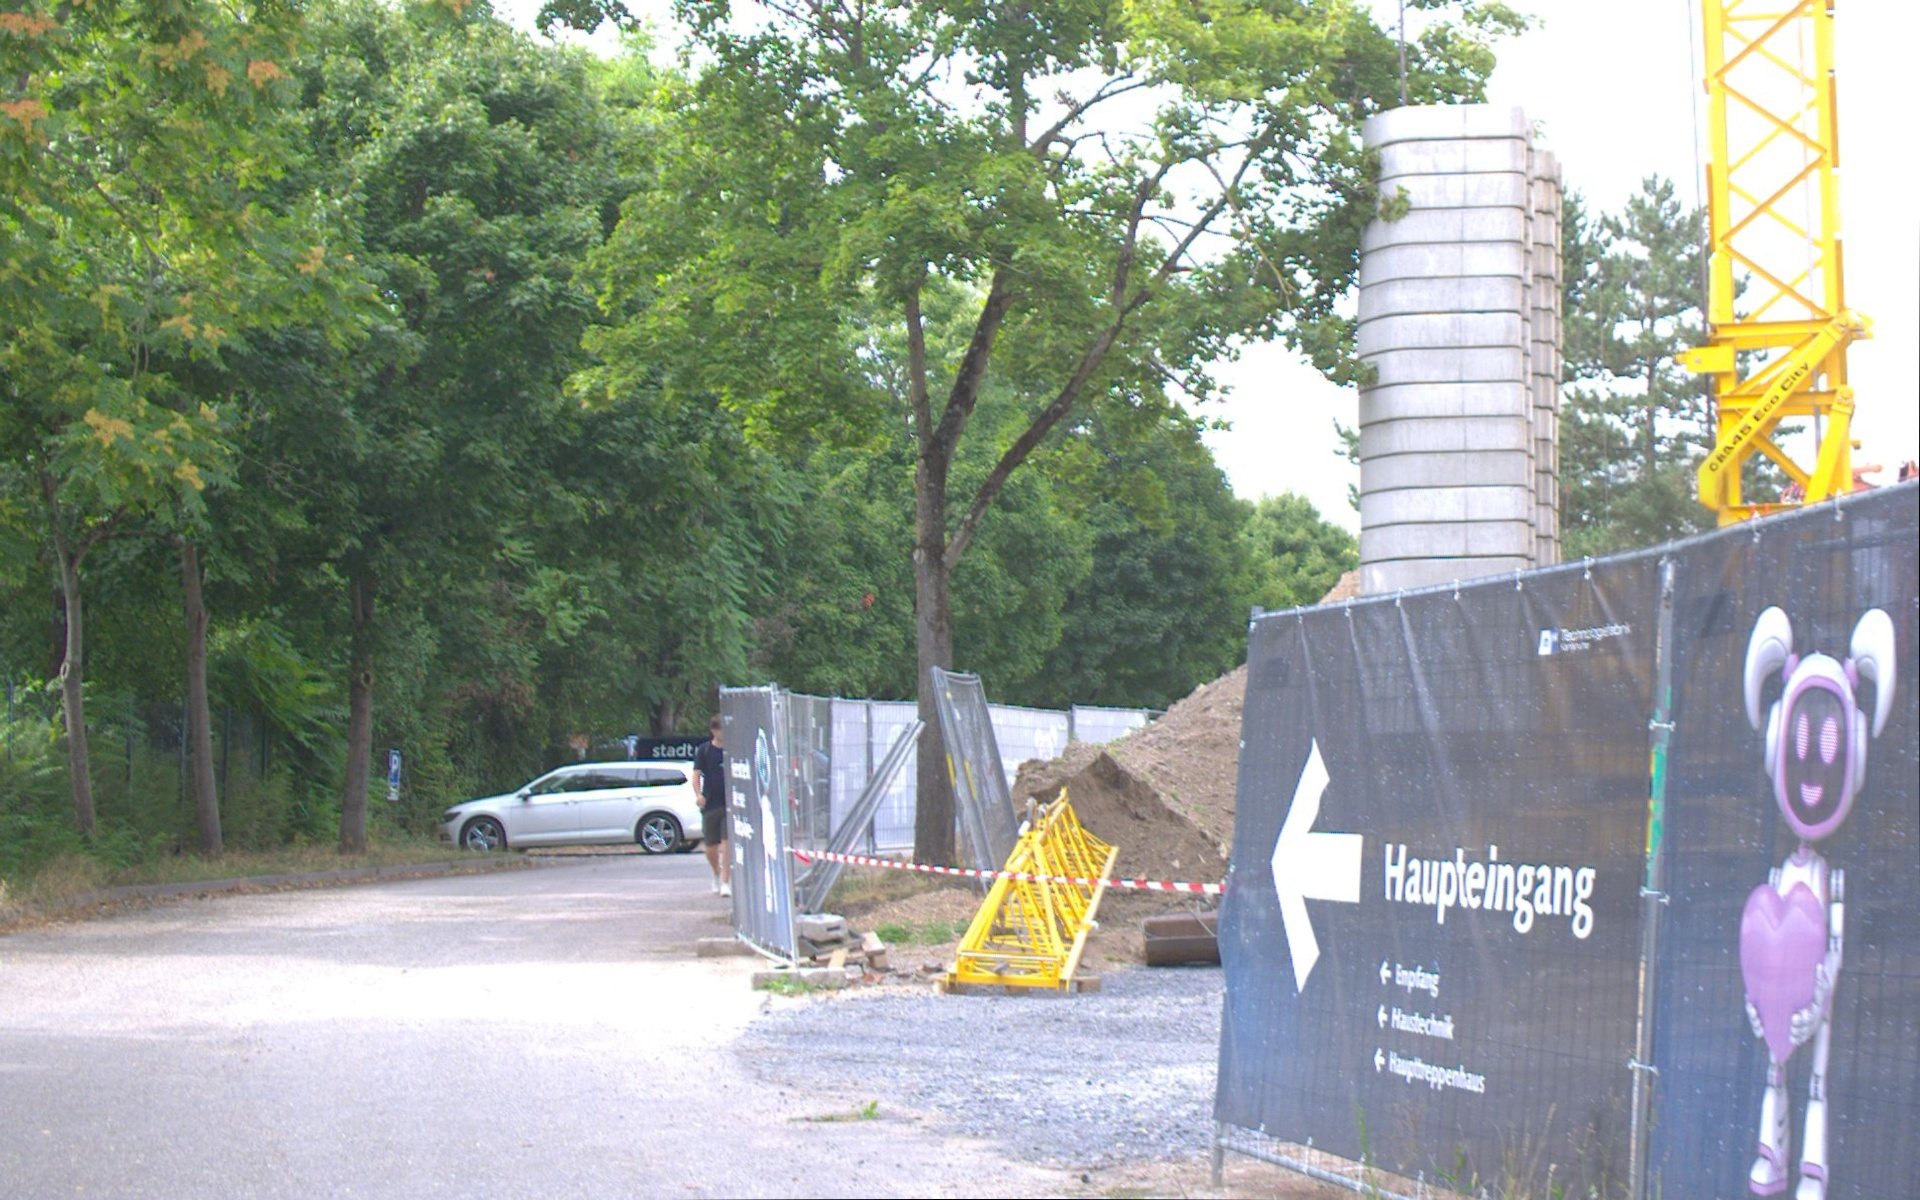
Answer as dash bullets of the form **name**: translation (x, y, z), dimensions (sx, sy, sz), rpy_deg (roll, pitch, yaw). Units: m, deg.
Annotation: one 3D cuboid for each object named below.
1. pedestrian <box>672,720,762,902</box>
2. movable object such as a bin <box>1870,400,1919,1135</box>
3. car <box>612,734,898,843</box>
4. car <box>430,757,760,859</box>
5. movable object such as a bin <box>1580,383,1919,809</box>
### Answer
- **pedestrian**: translation (-2.433, 2.110, 34.464), dimensions (0.748, 1.784, 0.730), rpy_deg (-1, -3, 8)
- **movable object such as a bin**: translation (4.517, 0.484, 10.357), dimensions (2.489, 2.435, 3.061), rpy_deg (-1, -3, -4)
- **car**: translation (-3.876, 3.577, 65.186), dimensions (5.048, 1.947, 1.999), rpy_deg (-2, -3, 11)
- **car**: translation (-5.698, 3.258, 53.946), dimensions (4.794, 1.483, 1.999), rpy_deg (-1, -3, 7)
- **movable object such as a bin**: translation (14.890, 0.159, 59.420), dimensions (3.851, 6.648, 10.965), rpy_deg (-3, -3, 35)
